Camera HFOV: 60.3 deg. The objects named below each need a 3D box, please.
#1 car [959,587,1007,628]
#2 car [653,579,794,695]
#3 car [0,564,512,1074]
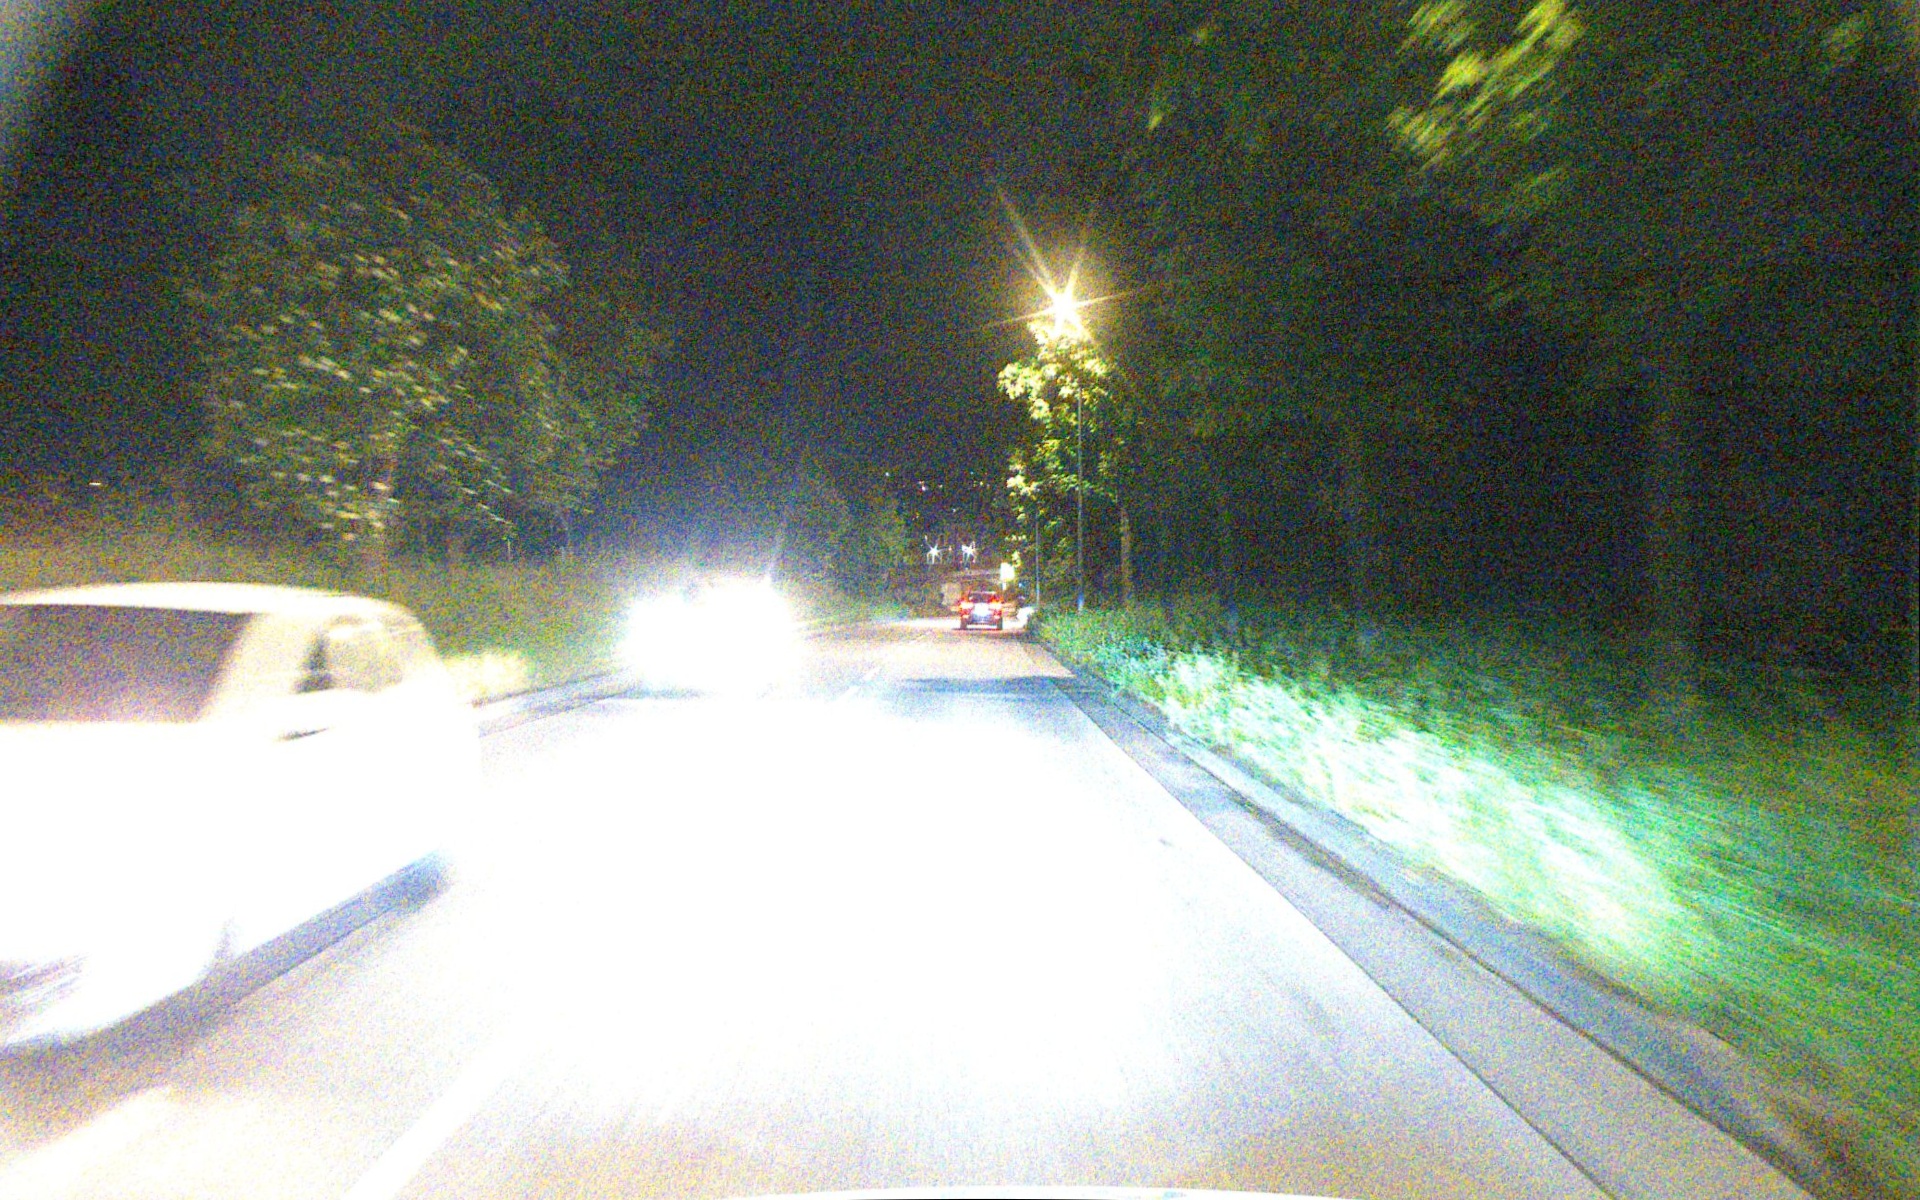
[{"bbox_3d":[0.934,0.287,69.568,1.728,1.670,3.720,1,0,-3],"label":"car"},{"bbox_3d":[-3.336,0.480,23.874,1.614,1.517,3.556,1,0,-2],"label":"car"},{"bbox_3d":[-3.180,0.624,6.802,1.653,1.483,3.999,1,0,-1],"label":"car"}]
